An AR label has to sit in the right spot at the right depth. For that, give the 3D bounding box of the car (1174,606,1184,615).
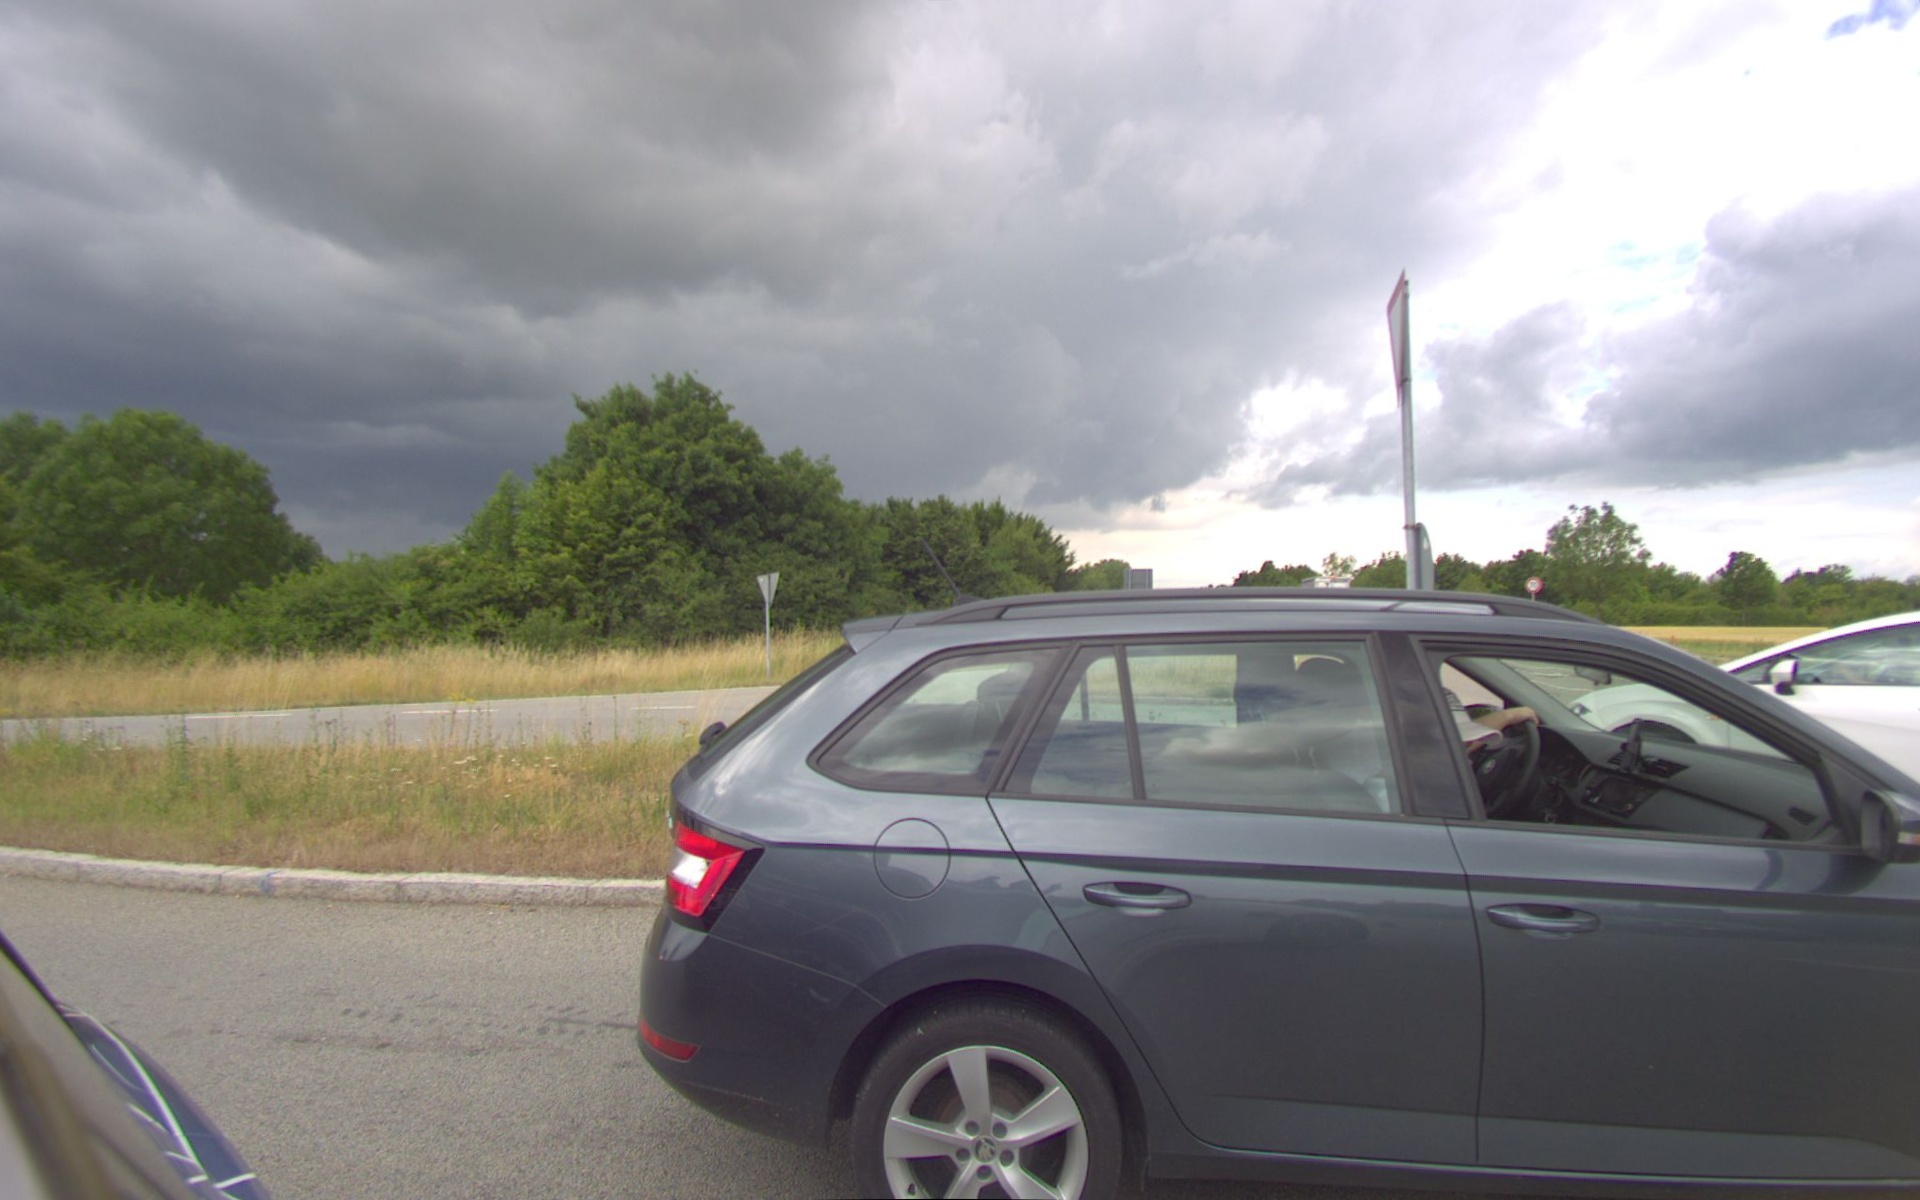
[{"bbox_3d":[42.778,2.048,197.765,1.777,1.564,3.990,0,-1,8],"label":"car"}]

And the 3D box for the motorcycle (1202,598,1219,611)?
[{"bbox_3d":[17.187,0.296,69.505,0.933,0.896,2.140,0,-1,9],"label":"motorcycle"}]

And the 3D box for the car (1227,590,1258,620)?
[{"bbox_3d":[30.040,0.595,107.815,2.314,3.052,6.541,-1,-1,8],"label":"car"}]

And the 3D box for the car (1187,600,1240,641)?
[{"bbox_3d":[9.799,0.789,38.975,1.757,1.462,4.368,0,-1,17],"label":"car"}]

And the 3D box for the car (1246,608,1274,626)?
[{"bbox_3d":[27.001,1.535,91.218,1.827,1.537,3.989,-1,-1,9],"label":"car"}]

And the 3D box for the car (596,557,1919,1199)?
[{"bbox_3d":[1.334,0.649,2.784,4.062,1.458,1.717,0,0,3],"label":"car"}]

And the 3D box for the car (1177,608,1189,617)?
[{"bbox_3d":[39.588,2.259,179.813,1.777,1.564,3.989,0,-1,8],"label":"car"}]

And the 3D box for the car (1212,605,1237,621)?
[{"bbox_3d":[32.257,1.582,123.449,2.314,1.936,4.863,-1,-1,8],"label":"car"}]

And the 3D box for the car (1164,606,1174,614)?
[{"bbox_3d":[46.984,2.285,227.062,1.977,1.839,4.491,0,-1,9],"label":"car"}]

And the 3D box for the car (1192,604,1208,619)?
[{"bbox_3d":[33.537,1.671,141.291,1.776,2.029,3.990,0,-1,8],"label":"car"}]

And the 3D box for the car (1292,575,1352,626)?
[{"bbox_3d":[23.052,0.090,64.694,2.314,3.052,6.539,2,-1,9],"label":"car"}]

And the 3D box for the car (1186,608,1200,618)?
[{"bbox_3d":[37.013,2.056,161.095,1.776,1.564,3.990,0,-1,8],"label":"car"}]

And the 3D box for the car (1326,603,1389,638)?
[{"bbox_3d":[20.322,1.063,51.880,1.976,1.636,4.251,2,-1,7],"label":"car"}]

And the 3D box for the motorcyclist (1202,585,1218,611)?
[{"bbox_3d":[17.181,-0.140,69.503,0.933,1.763,1.197,0,-1,9],"label":"motorcyclist"}]

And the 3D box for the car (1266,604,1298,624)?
[{"bbox_3d":[26.184,1.170,82.414,1.828,1.537,3.988,-1,-1,9],"label":"car"}]

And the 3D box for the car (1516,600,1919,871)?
[{"bbox_3d":[5.800,0.733,5.746,1.789,1.419,4.325,2,-1,-31],"label":"car"}]
